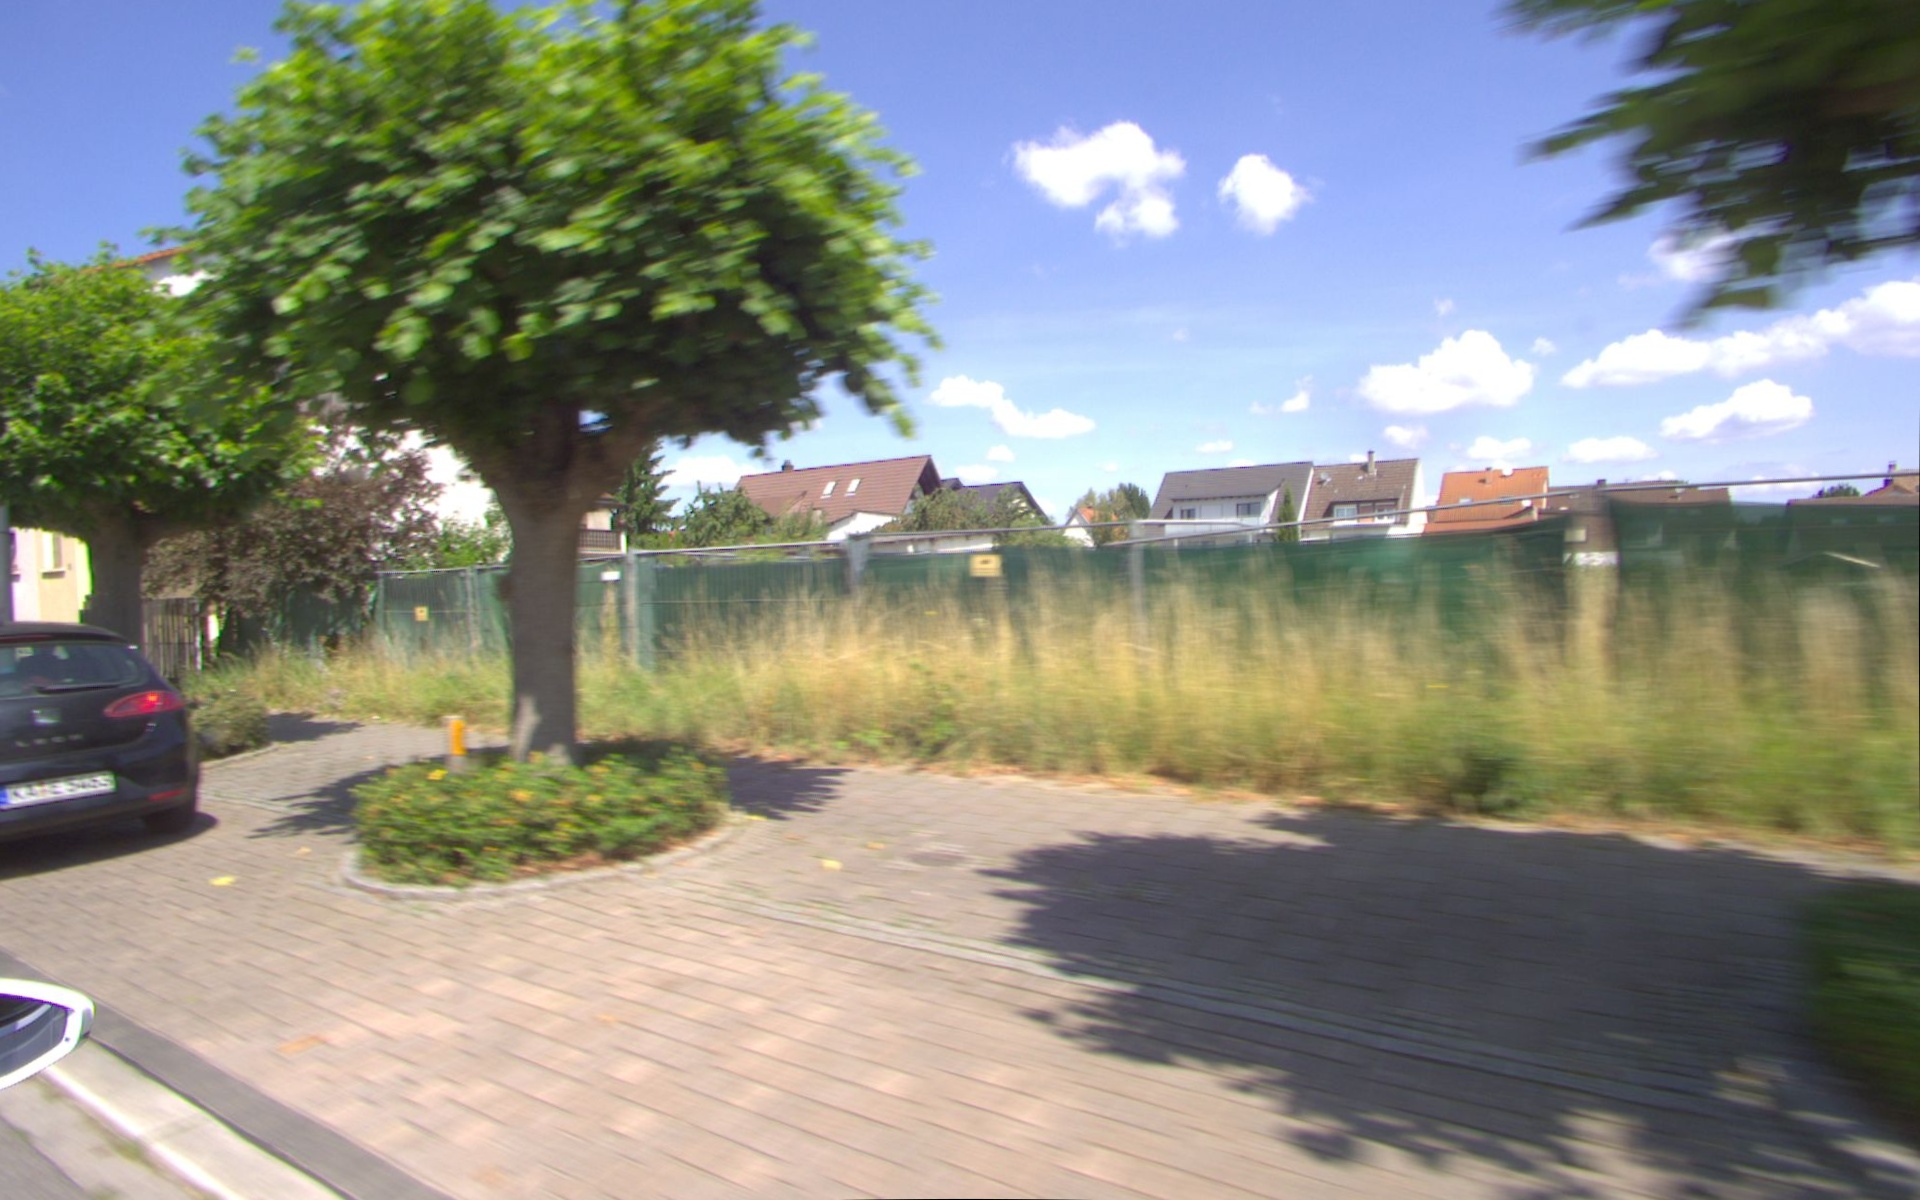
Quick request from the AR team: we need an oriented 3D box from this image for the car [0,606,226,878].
[{"bbox_3d":[-6.919,0.816,6.755,3.999,1.452,1.819,0,3,33],"label":"car"}]
